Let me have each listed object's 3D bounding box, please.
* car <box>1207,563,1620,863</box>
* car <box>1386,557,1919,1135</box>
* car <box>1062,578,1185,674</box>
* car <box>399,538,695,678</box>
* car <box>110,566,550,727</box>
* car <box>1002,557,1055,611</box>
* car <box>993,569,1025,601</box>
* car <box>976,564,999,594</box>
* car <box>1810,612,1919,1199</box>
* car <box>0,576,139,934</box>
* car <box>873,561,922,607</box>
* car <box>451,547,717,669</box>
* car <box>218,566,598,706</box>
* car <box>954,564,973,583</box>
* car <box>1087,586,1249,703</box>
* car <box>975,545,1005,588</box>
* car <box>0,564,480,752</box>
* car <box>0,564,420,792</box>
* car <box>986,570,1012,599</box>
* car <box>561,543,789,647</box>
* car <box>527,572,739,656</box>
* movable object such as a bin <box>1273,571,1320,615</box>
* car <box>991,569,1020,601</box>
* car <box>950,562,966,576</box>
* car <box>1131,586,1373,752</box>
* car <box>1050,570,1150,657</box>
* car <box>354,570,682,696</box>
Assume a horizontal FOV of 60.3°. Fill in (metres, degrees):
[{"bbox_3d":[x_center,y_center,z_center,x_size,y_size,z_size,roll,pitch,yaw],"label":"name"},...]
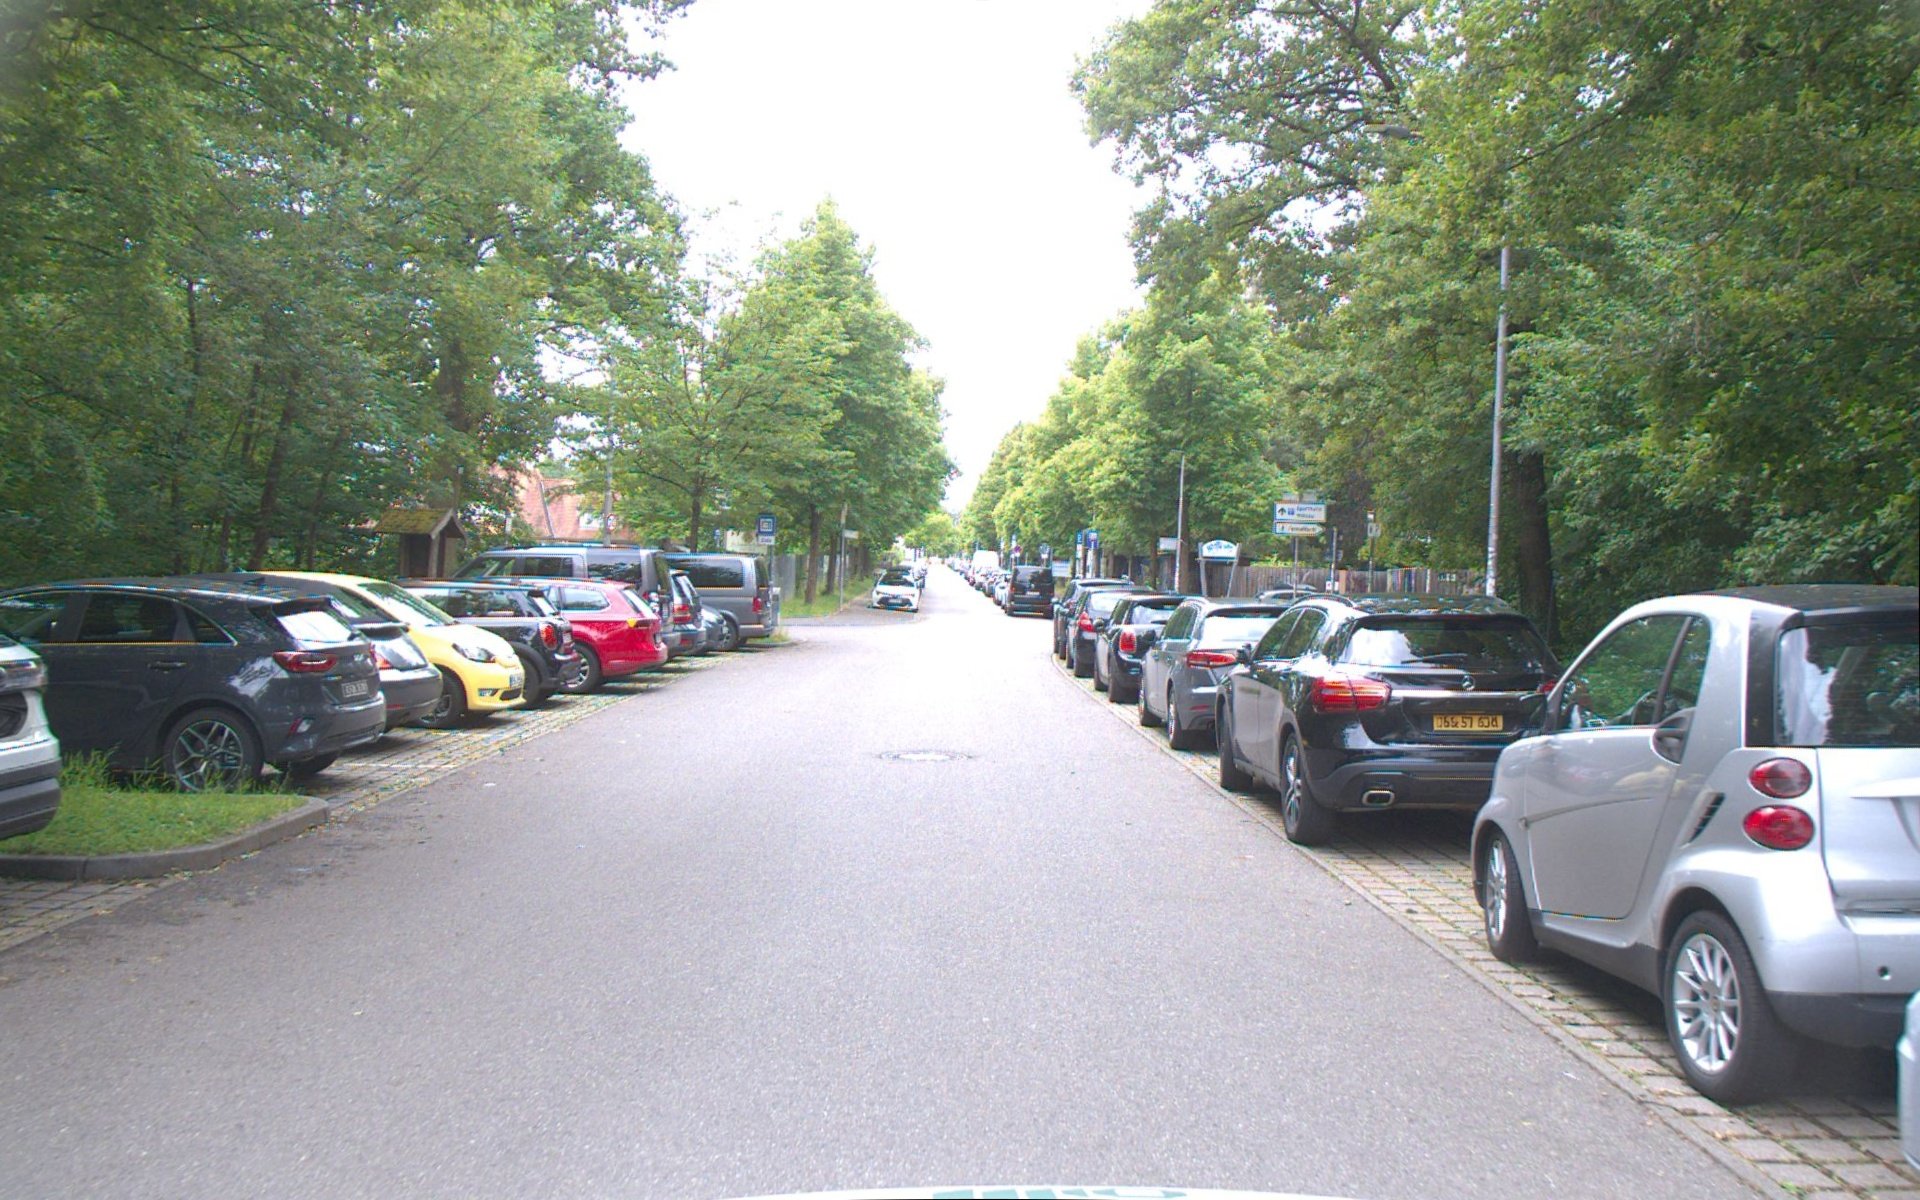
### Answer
[{"bbox_3d":[2.833,0.606,11.336,1.700,1.616,4.383,1,0,1],"label":"car"},{"bbox_3d":[3.142,0.679,6.610,1.701,1.595,4.007,1,0,-2],"label":"car"},{"bbox_3d":[2.783,0.404,28.926,1.700,1.521,4.234,1,0,0],"label":"car"},{"bbox_3d":[-6.062,0.102,24.614,3.906,1.895,1.813,2,1,-1],"label":"car"},{"bbox_3d":[-6.436,0.451,17.183,3.906,1.463,1.617,2,1,-1],"label":"car"},{"bbox_3d":[2.714,-0.661,66.317,1.947,2.048,4.108,1,1,0],"label":"car"},{"bbox_3d":[2.363,-0.748,80.364,1.439,1.507,3.189,1,1,0],"label":"car"},{"bbox_3d":[1.842,-1.406,110.445,1.439,2.002,3.189,1,1,0],"label":"car"},{"bbox_3d":[3.133,0.797,2.131,1.702,1.450,4.151,1,1,-4],"label":"car"},{"bbox_3d":[-5.986,0.605,7.210,3.906,1.493,1.714,2,1,-1],"label":"car"},{"bbox_3d":[-2.448,-0.632,63.638,1.730,1.623,4.214,4,1,-3],"label":"car"},{"bbox_3d":[-6.064,0.110,27.049,3.907,1.796,1.823,2,1,-3],"label":"car"},{"bbox_3d":[-6.420,0.404,19.571,3.908,1.463,1.671,2,1,-3],"label":"car"},{"bbox_3d":[0.382,-2.922,184.147,1.952,2.049,4.001,1,0,3],"label":"car"},{"bbox_3d":[2.824,0.547,23.320,1.700,1.457,4.502,1,1,0],"label":"car"},{"bbox_3d":[2.227,-2.512,124.199,2.139,3.068,4.897,1,1,1],"label":"car"},{"bbox_3d":[-6.539,0.478,14.859,3.906,1.463,1.733,2,1,-1],"label":"car"},{"bbox_3d":[-6.219,0.505,12.137,3.906,1.463,1.715,2,1,-1],"label":"car"},{"bbox_3d":[2.219,-0.905,94.372,1.439,1.558,3.189,1,1,0],"label":"car"},{"bbox_3d":[-5.867,-0.099,34.432,4.412,2.012,1.890,1,0,-2],"label":"car"},{"bbox_3d":[-6.330,0.246,32.291,3.735,1.539,1.810,1,1,2],"label":"car"},{"bbox_3d":[11.569,-0.231,56.884,1.276,1.468,1.061,2,0,-45],"label":"movable object such as a bin"},{"bbox_3d":[2.327,-0.780,85.358,1.439,1.558,3.189,1,1,0],"label":"car"},{"bbox_3d":[-0.202,-4.040,217.679,1.859,1.736,4.065,1,0,3],"label":"car"},{"bbox_3d":[2.870,0.606,17.191,1.700,1.457,4.502,1,1,0],"label":"car"},{"bbox_3d":[2.873,0.237,34.620,1.700,1.662,4.375,1,0,0],"label":"car"},{"bbox_3d":[-5.836,0.415,22.217,3.907,1.501,1.779,2,1,-3],"label":"car"}]
